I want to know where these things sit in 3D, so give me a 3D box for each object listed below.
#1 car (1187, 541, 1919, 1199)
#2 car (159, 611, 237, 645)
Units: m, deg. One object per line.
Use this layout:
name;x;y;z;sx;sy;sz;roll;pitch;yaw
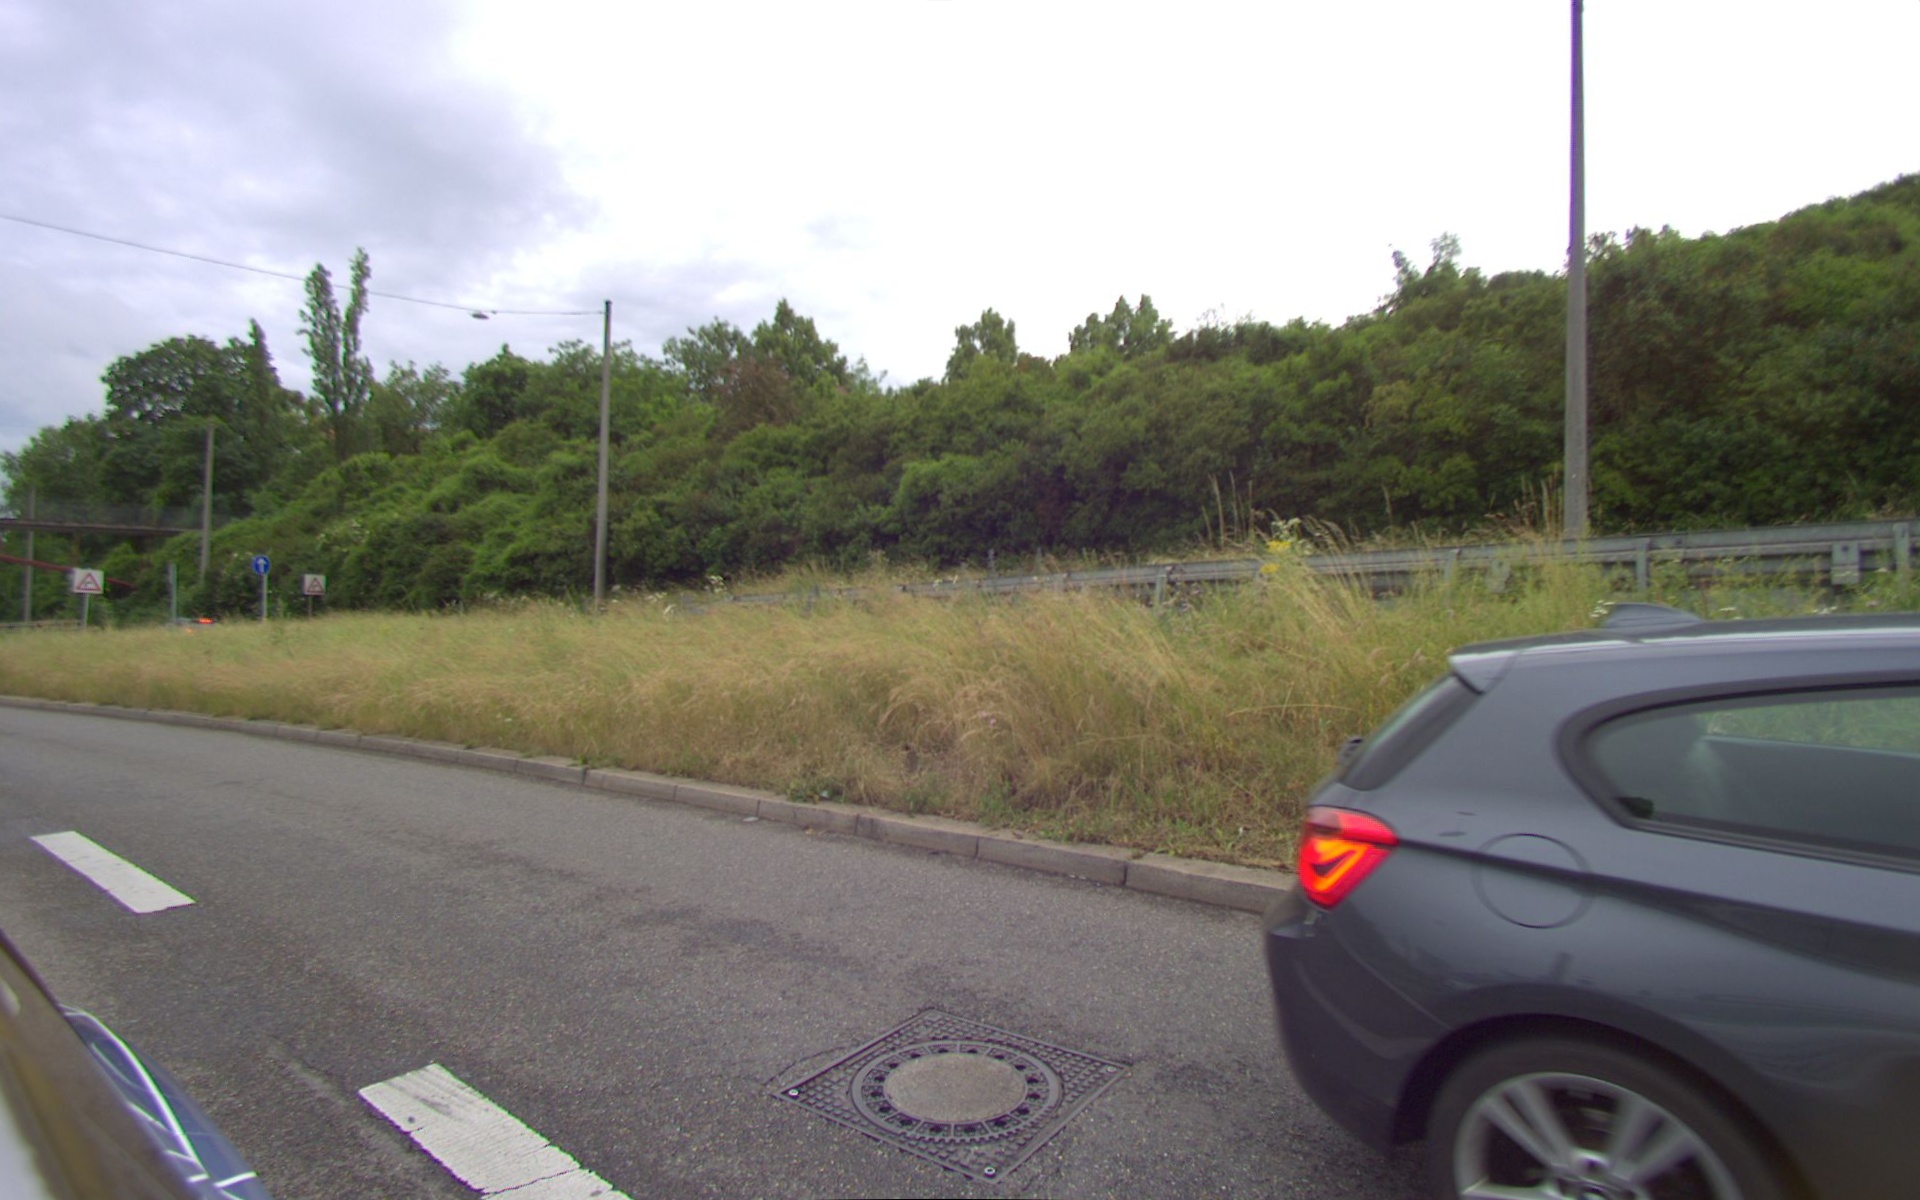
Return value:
car;2.643;0.638;1.720;4.112;1.471;1.685;0;0;41
car;-35.506;1.274;47.130;4.282;1.464;1.973;-1;0;40
